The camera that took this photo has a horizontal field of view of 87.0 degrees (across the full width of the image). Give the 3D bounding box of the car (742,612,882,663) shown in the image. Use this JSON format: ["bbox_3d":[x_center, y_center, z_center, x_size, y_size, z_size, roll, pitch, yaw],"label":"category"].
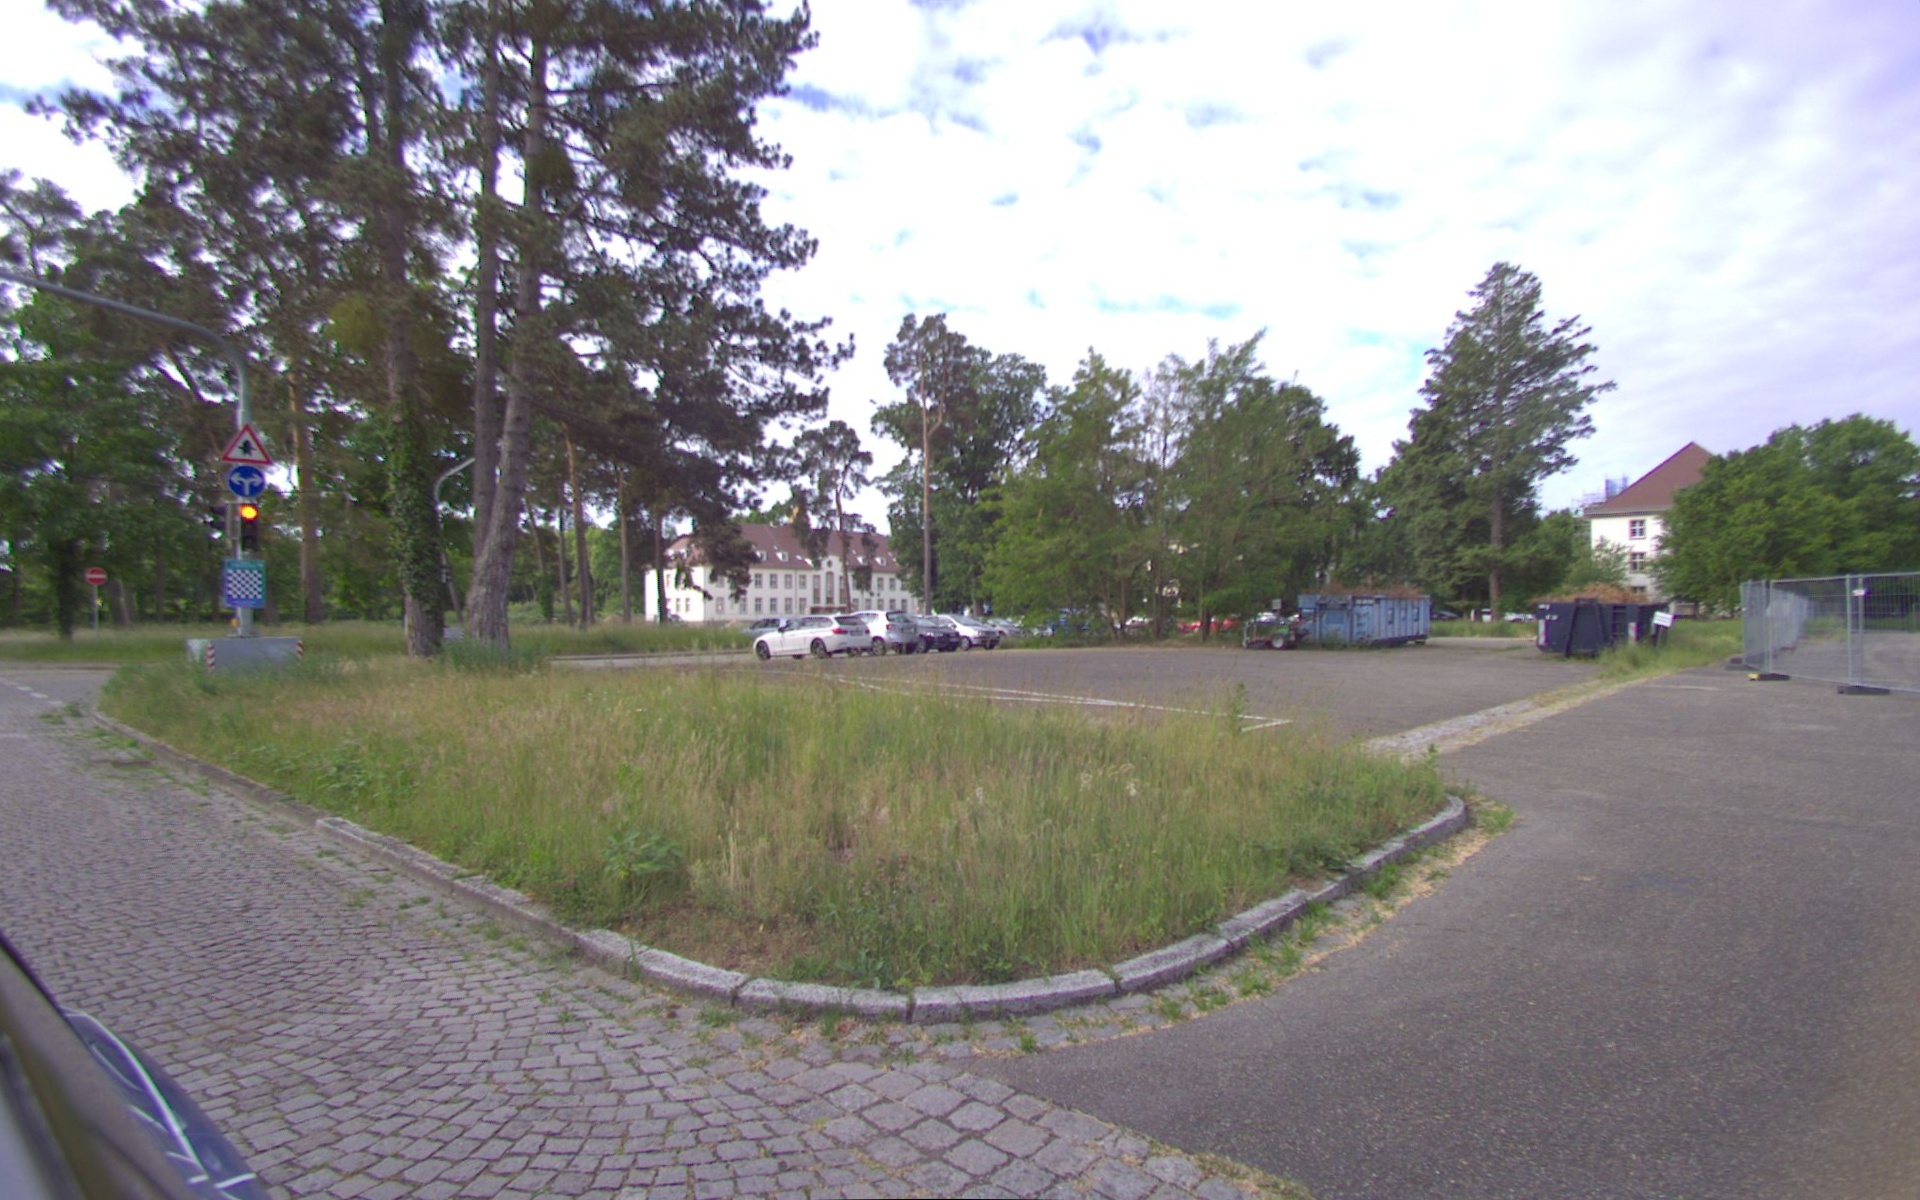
[{"bbox_3d":[-4.976,1.264,33.579,4.818,1.450,1.887,-5,-4,41],"label":"car"}]

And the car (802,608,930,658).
[{"bbox_3d":[-3.343,1.180,35.572,4.483,1.602,1.823,-3,-3,39],"label":"car"}]

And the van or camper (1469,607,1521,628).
[{"bbox_3d":[64.539,2.107,122.106,5.248,2.482,2.179,-1,-1,41],"label":"van or camper"}]

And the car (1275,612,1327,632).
[{"bbox_3d":[29.792,1.911,88.420,3.795,1.637,1.971,-1,-1,44],"label":"car"}]

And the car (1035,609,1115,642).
[{"bbox_3d":[7.188,1.594,63.642,1.970,2.029,4.849,1,-1,-43],"label":"car"}]

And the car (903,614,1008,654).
[{"bbox_3d":[-0.211,1.312,39.882,3.982,1.467,1.659,-1,-1,39],"label":"car"}]

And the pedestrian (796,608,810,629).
[{"bbox_3d":[-17.336,2.040,111.673,1.185,2.194,1.041,-1,-1,43],"label":"pedestrian"}]

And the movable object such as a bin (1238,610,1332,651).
[{"bbox_3d":[10.158,0.938,31.710,2.539,1.221,1.154,-2,-1,42],"label":"movable object such as a bin"}]

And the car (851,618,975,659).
[{"bbox_3d":[-1.810,1.395,37.771,4.632,1.433,1.859,-1,-1,40],"label":"car"}]

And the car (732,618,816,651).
[{"bbox_3d":[-8.556,1.534,46.366,4.001,1.429,1.771,-1,-1,44],"label":"car"}]

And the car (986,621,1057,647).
[{"bbox_3d":[3.608,1.985,59.850,3.936,1.460,1.771,-1,-1,43],"label":"car"}]

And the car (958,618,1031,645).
[{"bbox_3d":[1.924,1.777,57.377,3.936,1.446,1.771,-1,-1,43],"label":"car"}]

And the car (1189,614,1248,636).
[{"bbox_3d":[19.837,1.904,77.764,3.997,1.581,1.973,-1,-1,40],"label":"car"}]
